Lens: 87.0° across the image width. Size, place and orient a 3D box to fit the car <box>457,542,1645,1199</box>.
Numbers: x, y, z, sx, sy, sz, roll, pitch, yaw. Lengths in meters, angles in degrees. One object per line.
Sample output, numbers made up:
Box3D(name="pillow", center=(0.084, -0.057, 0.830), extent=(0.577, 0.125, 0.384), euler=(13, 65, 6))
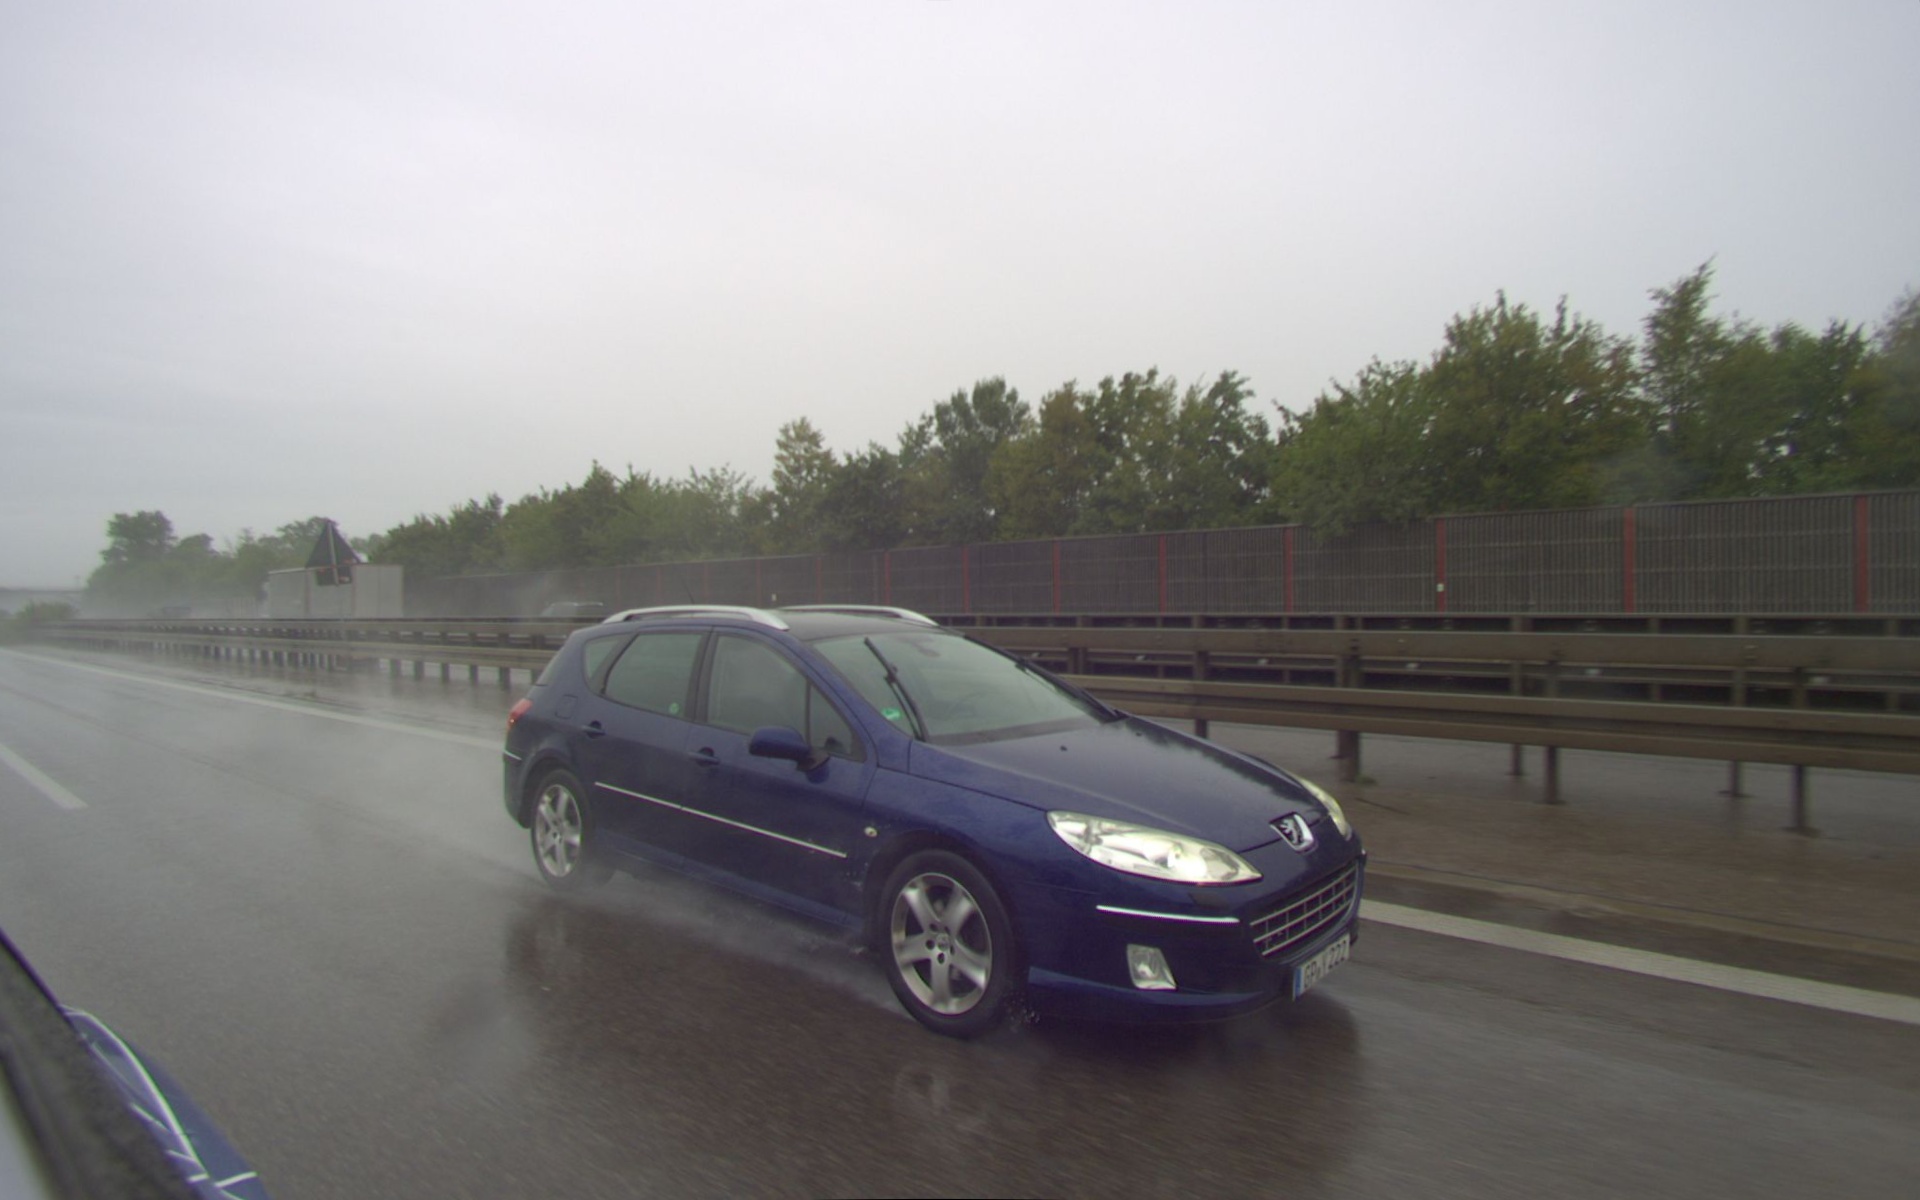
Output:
Box3D(name="car", center=(-0.131, 0.667, 4.589), extent=(5.155, 1.496, 2.033), euler=(-1, -1, 41))

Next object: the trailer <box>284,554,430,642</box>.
Box3D(name="trailer", center=(-35.999, -0.020, 60.089), extent=(12.236, 4.731, 3.829), euler=(-1, -1, 41))

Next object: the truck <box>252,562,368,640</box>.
Box3D(name="truck", center=(-42.109, 0.154, 65.415), extent=(9.487, 4.674, 3.796), euler=(-1, -1, 41))

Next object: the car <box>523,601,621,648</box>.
Box3D(name="car", center=(-15.355, 0.948, 39.999), extent=(3.998, 1.748, 1.973), euler=(-1, 0, 41))
